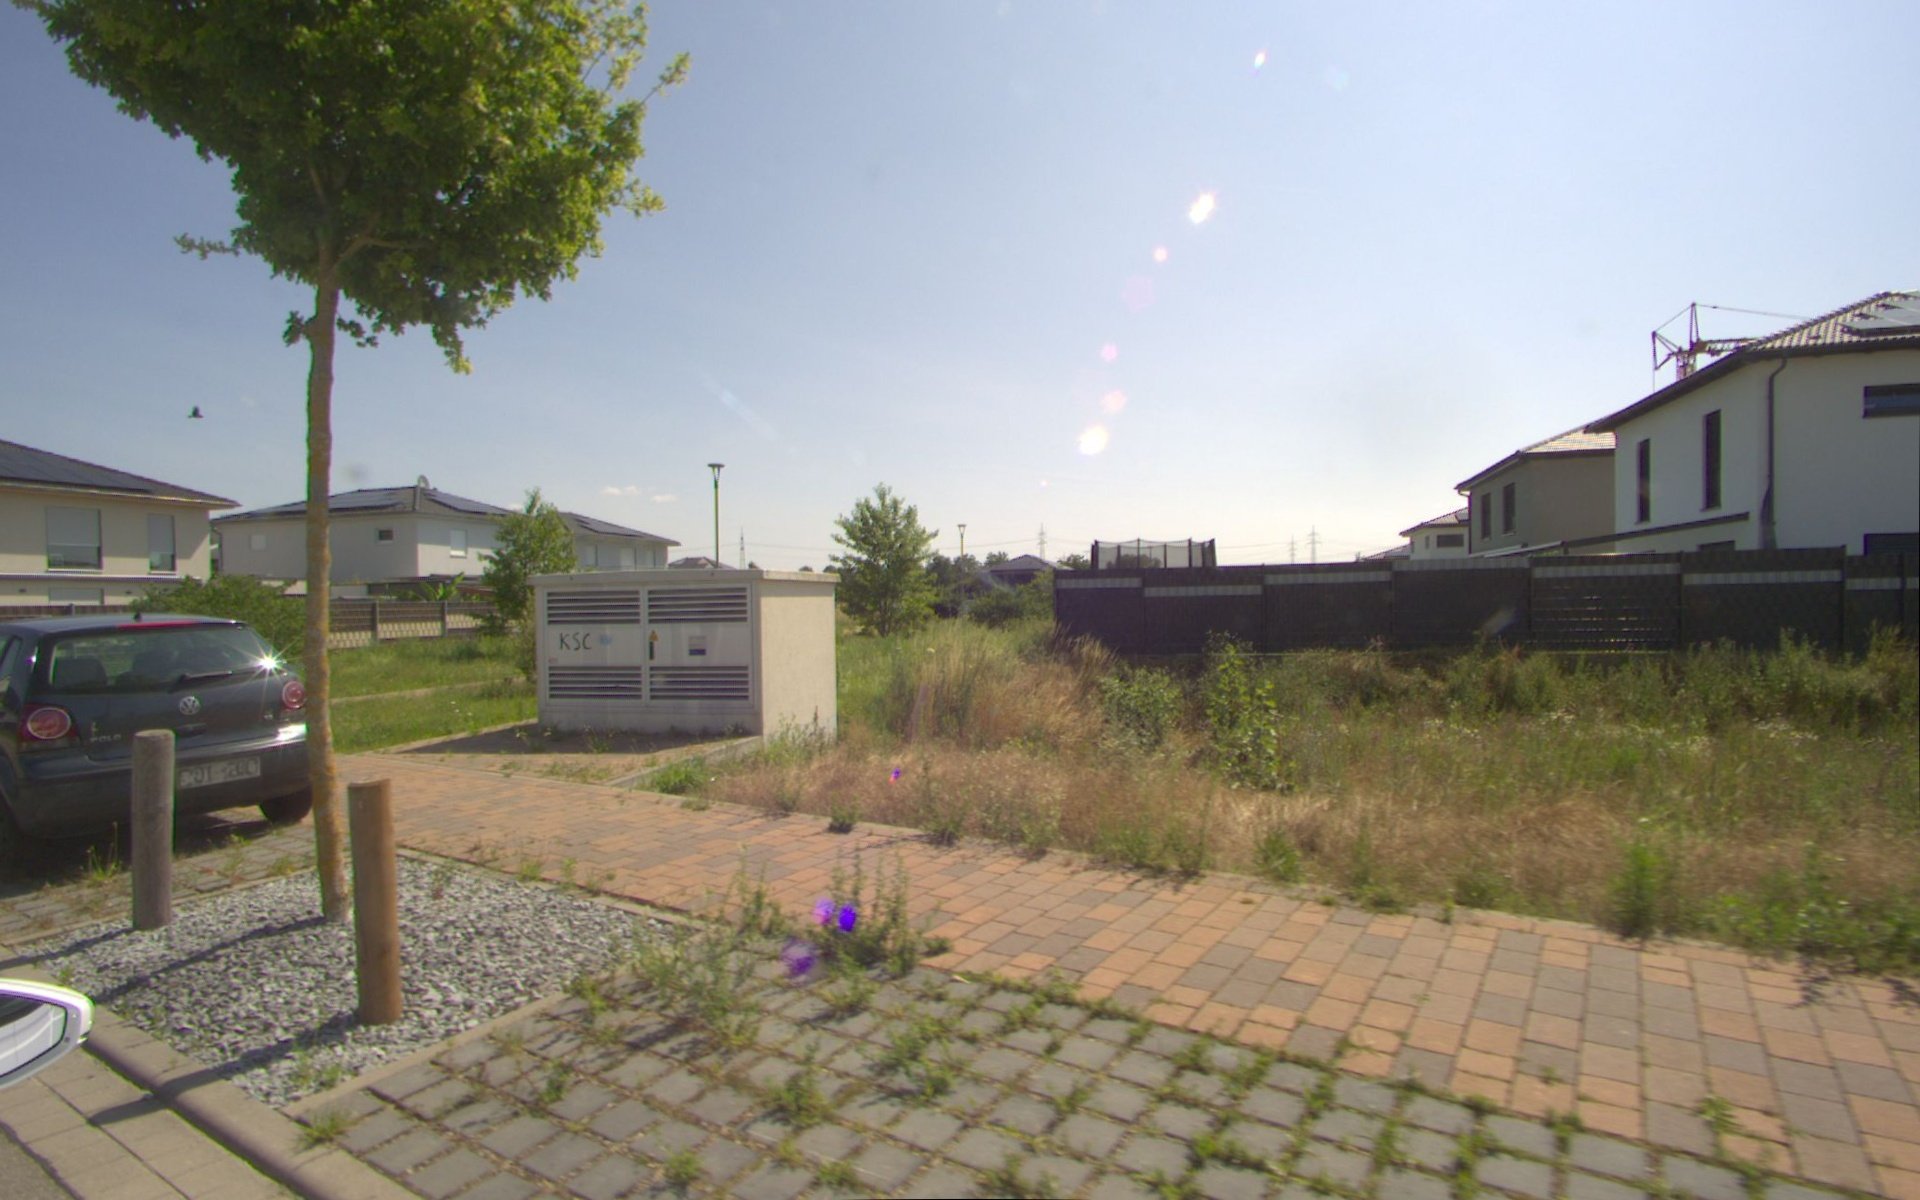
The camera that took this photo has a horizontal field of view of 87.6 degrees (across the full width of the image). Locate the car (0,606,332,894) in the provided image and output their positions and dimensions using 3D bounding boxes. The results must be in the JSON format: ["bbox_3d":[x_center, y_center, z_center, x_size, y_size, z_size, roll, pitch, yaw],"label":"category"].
[{"bbox_3d":[-6.059,0.823,6.850,3.622,1.494,1.595,-1,-1,32],"label":"car"}]
